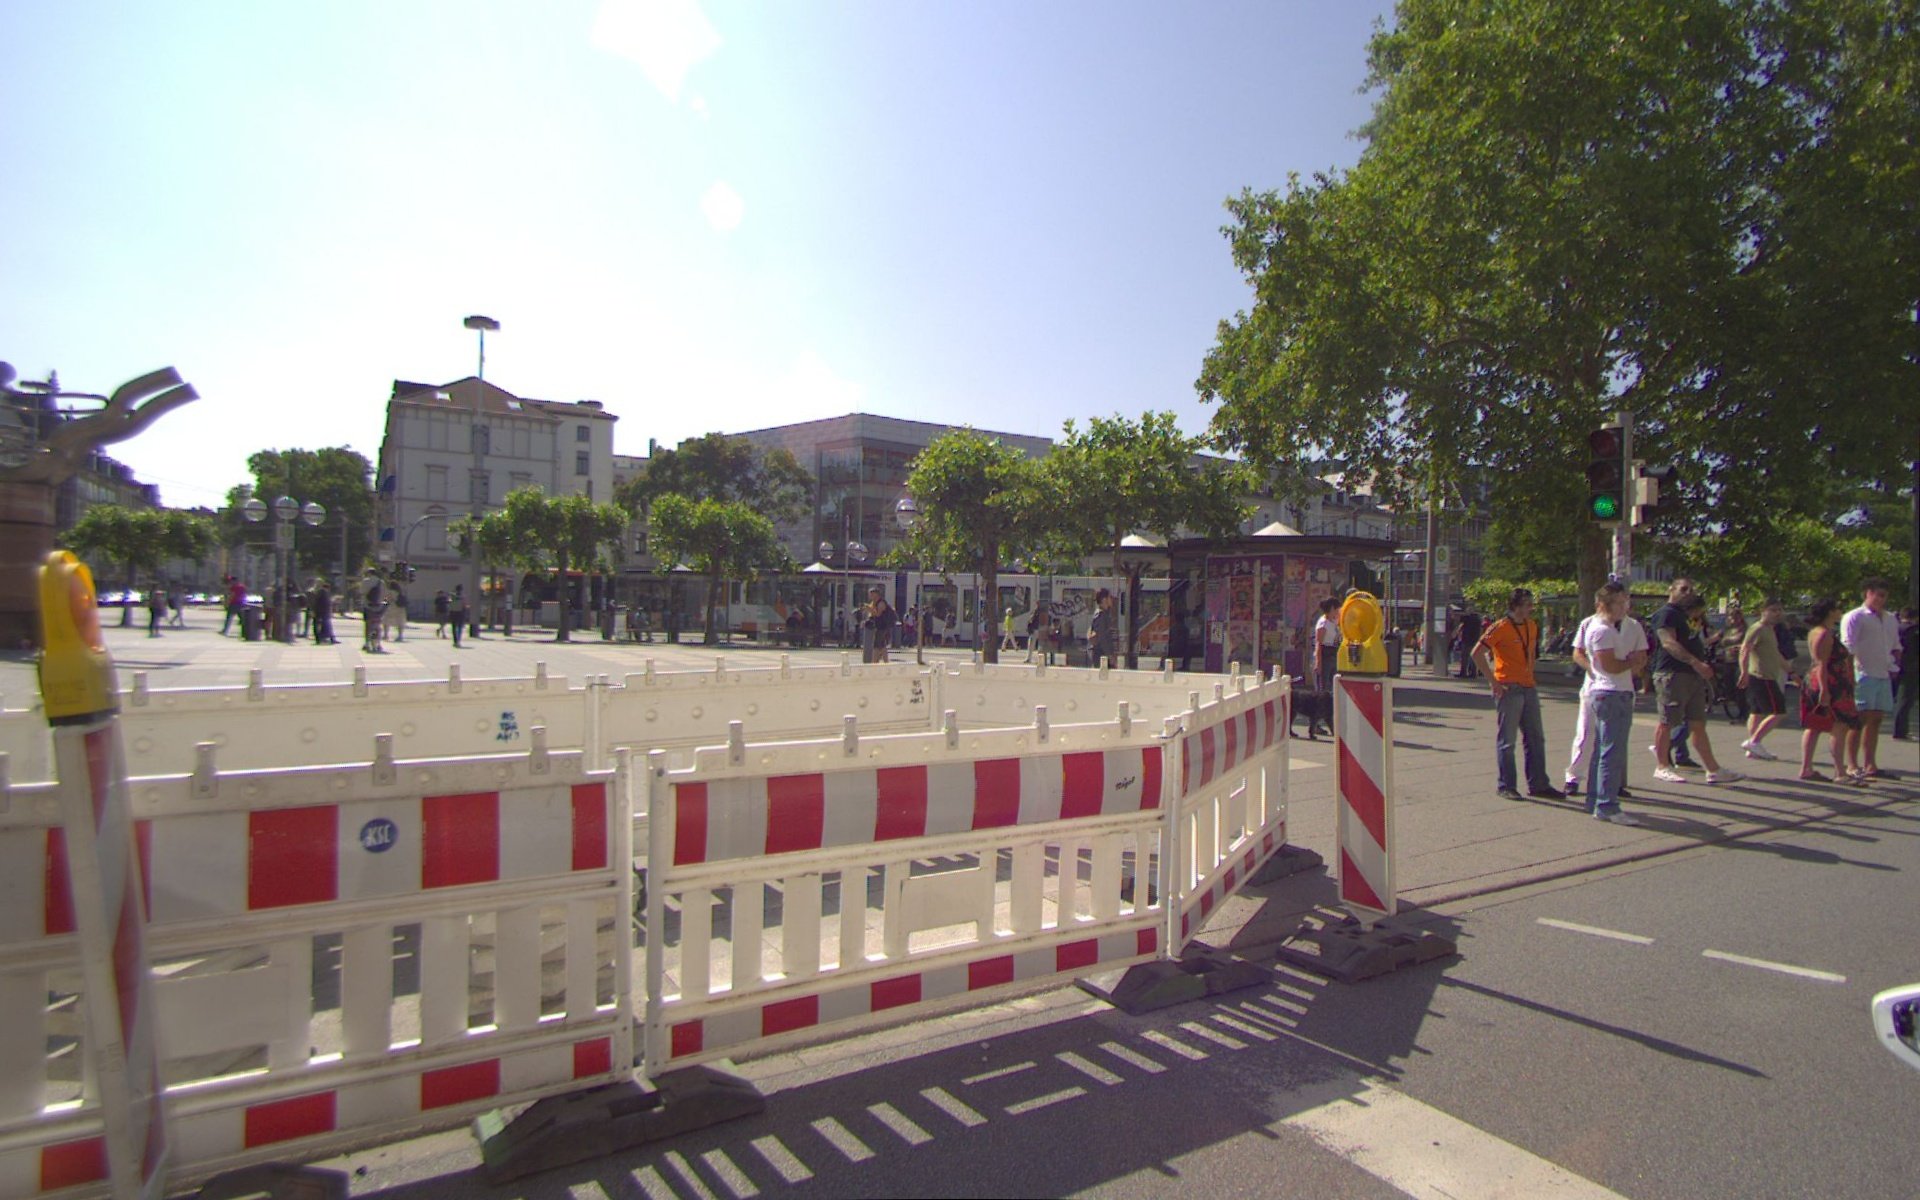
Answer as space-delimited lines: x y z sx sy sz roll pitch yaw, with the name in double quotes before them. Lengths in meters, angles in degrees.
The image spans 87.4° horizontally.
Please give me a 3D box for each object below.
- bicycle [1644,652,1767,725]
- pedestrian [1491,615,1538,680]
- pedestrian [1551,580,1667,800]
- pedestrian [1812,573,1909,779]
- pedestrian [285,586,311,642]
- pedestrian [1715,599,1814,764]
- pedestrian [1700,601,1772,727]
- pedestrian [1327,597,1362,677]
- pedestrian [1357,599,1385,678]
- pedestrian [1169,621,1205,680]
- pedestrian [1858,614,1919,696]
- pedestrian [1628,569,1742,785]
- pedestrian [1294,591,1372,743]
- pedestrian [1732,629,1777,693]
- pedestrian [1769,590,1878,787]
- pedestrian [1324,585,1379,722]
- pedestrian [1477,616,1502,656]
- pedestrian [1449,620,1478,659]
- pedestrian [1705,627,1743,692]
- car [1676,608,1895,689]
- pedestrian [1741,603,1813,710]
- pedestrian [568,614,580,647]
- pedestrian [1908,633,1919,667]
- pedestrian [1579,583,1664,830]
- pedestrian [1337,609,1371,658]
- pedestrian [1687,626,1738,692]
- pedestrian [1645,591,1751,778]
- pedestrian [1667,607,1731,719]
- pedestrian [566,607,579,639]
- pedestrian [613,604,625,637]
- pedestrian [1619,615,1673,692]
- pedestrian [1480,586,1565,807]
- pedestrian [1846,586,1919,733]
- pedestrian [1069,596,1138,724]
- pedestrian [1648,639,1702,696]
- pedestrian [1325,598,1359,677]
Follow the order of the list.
"bicycle" 11.294 1.323 15.213 1.903 1.042 0.489 1 0 -18
"pedestrian" 13.151 1.115 23.846 0.717 1.498 0.634 2 0 -9
"pedestrian" 5.551 0.743 8.603 0.598 1.803 0.538 2 1 -24
"pedestrian" 8.833 0.727 9.856 0.553 1.944 0.529 2 0 -28
"pedestrian" -20.262 0.418 30.731 0.600 1.688 0.796 2 1 -35
"pedestrian" 8.872 0.873 11.082 0.779 1.745 0.582 1 0 -28
"pedestrian" 11.469 0.933 14.855 0.598 1.803 0.574 2 1 -24
"pedestrian" 9.177 0.871 23.986 0.555 1.883 0.509 2 0 -9
"pedestrian" 9.920 0.924 24.242 0.537 1.883 0.504 1 0 27
"pedestrian" 5.016 1.103 22.206 0.599 1.279 0.612 1 0 -4
"pedestrian" 20.795 1.228 22.491 0.751 1.787 0.680 1 0 -1
"pedestrian" 6.705 0.685 9.295 0.645 1.916 0.573 2 1 -28
"pedestrian" 4.486 0.788 12.103 0.598 1.762 0.574 2 1 -24
"pedestrian" 17.957 1.372 22.720 0.648 1.404 0.664 1 0 26
"pedestrian" 8.157 0.812 9.499 0.630 1.781 0.574 2 0 -28
"pedestrian" 5.643 0.748 14.477 0.651 1.904 0.631 2 1 22
"pedestrian" 20.415 1.385 38.714 0.739 1.534 0.600 1 0 -37
"pedestrian" 20.058 1.579 40.041 0.724 1.534 0.744 1 0 -16
"pedestrian" 17.076 1.316 22.447 0.650 1.404 0.662 1 -1 39
"car" 21.919 1.261 26.729 4.674 1.981 1.862 2 -1 -9
"pedestrian" 14.340 0.980 17.643 0.717 1.834 0.634 2 0 -9
"pedestrian" -20.074 1.579 52.227 0.435 1.695 0.450 1 0 5
"pedestrian" 49.823 2.591 52.095 0.645 1.729 0.710 2 0 -14
"pedestrian" 4.967 0.764 7.563 0.422 1.763 0.605 2 1 29
"pedestrian" 9.561 0.808 24.368 0.555 1.174 0.509 2 0 -9
"pedestrian" 16.477 1.286 22.004 0.659 1.404 0.725 2 -1 -37
"pedestrian" 7.308 0.811 9.952 0.645 1.770 0.573 2 1 -28
"pedestrian" 11.836 0.990 16.095 0.598 1.734 0.573 2 1 -27
"pedestrian" -20.459 1.203 53.035 0.435 1.695 0.450 1 0 5
"pedestrian" -17.622 1.058 51.885 0.435 1.695 0.450 1 0 5
"pedestrian" 14.352 1.112 21.032 0.653 1.586 0.634 2 0 -9
"pedestrian" 4.659 0.765 8.331 0.531 1.741 0.605 2 1 29
"pedestrian" 12.309 0.776 13.239 0.674 1.883 0.634 2 0 -9
"pedestrian" 1.800 0.736 12.627 0.598 1.553 0.574 2 1 -24
"pedestrian" 15.019 1.406 21.110 0.653 1.159 0.634 2 0 -9
"pedestrian" 9.336 0.914 24.577 0.555 1.883 0.509 2 0 -9
